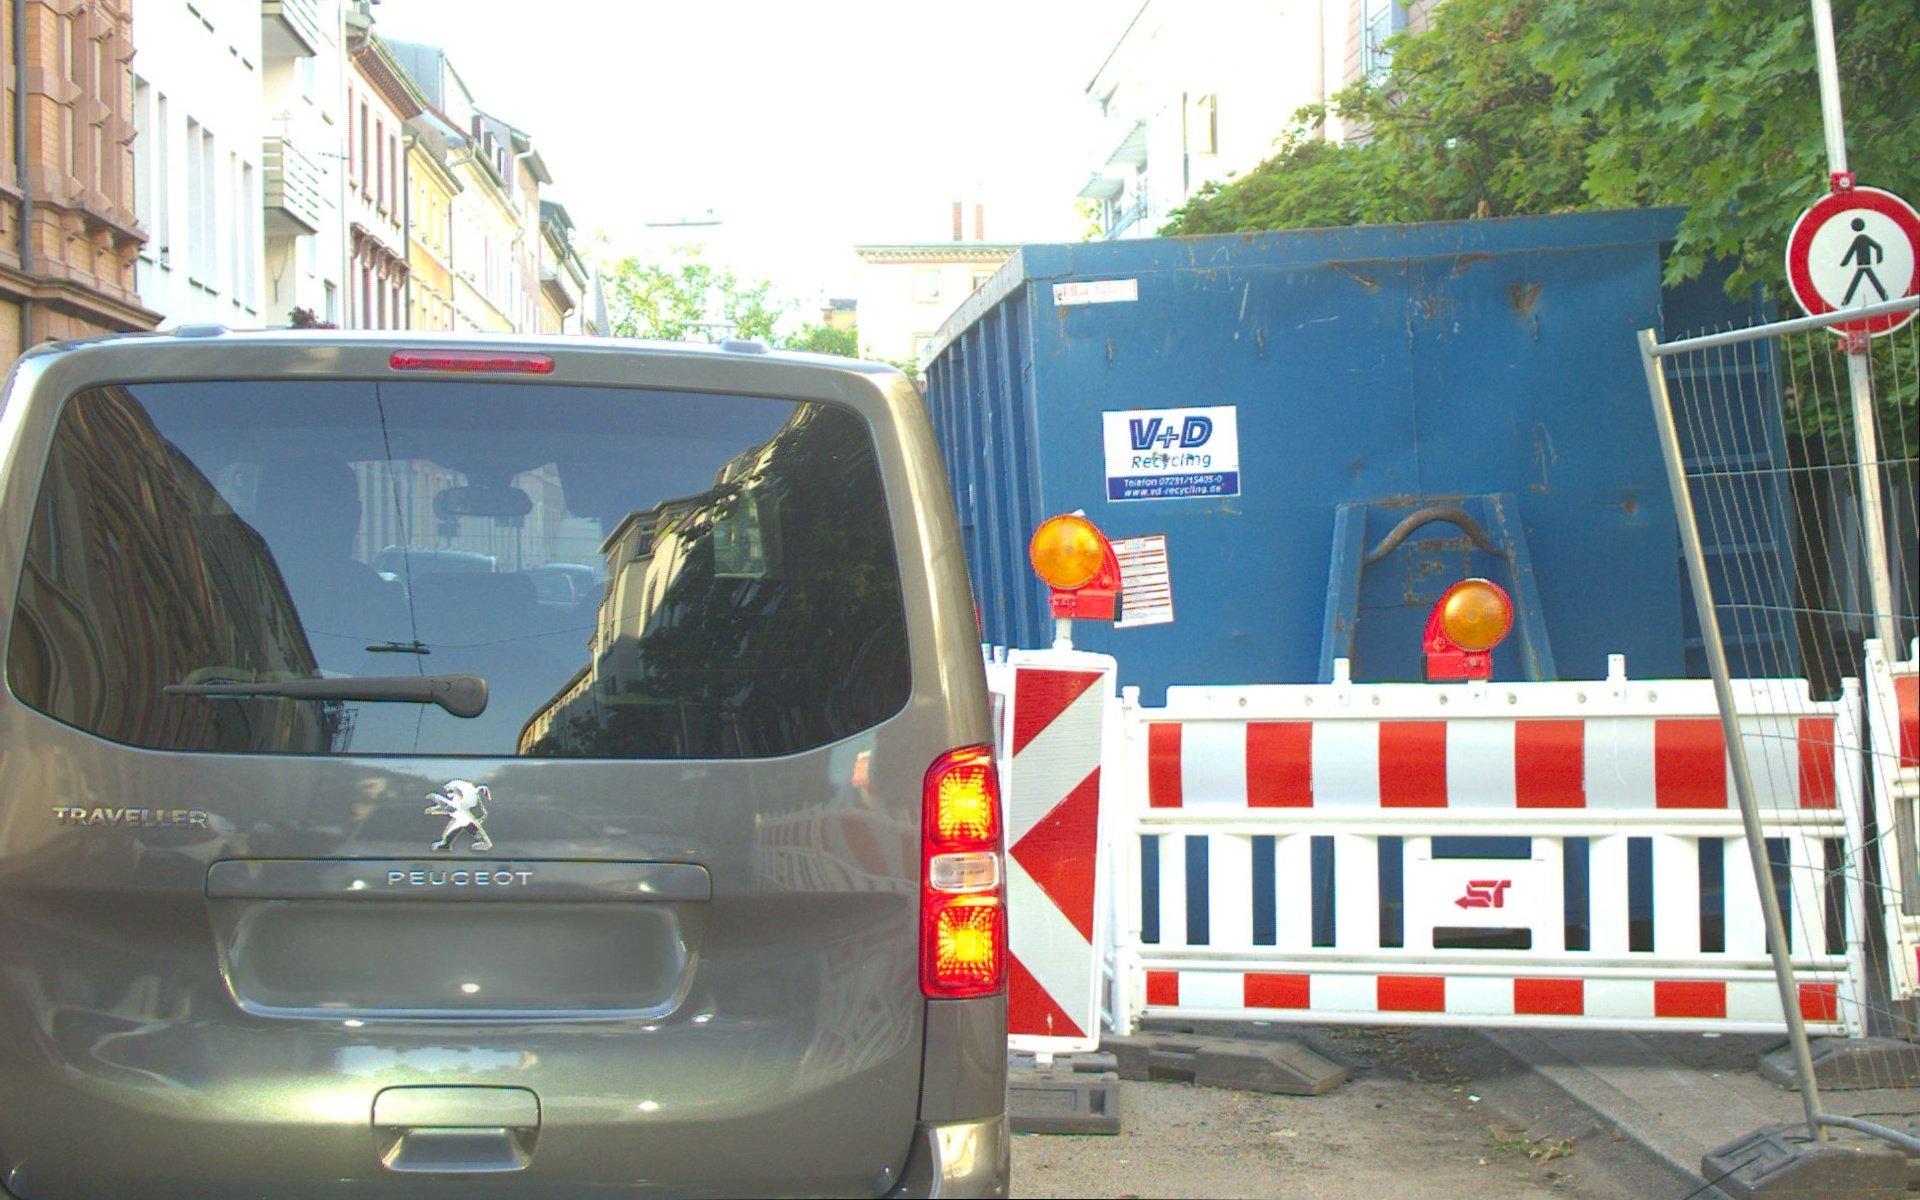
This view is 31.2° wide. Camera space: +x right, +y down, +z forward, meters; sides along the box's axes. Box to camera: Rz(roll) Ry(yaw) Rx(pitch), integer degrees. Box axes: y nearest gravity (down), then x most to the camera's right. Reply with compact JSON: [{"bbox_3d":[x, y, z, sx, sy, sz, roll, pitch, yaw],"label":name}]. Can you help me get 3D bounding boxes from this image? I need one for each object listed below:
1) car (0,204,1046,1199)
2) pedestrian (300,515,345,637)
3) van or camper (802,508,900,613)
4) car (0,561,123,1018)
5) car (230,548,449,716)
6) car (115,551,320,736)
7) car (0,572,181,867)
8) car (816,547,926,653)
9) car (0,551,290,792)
[{"bbox_3d":[-0.956,0.411,7.120,1.857,2.007,4.001,-2,1,-4],"label":"car"},{"bbox_3d":[-8.601,-0.327,46.422,0.495,1.633,0.666,1,0,-3],"label":"pedestrian"},{"bbox_3d":[-2.920,-1.047,90.545,2.099,2.593,7.514,-2,1,-5],"label":"van or camper"},{"bbox_3d":[-4.526,0.629,10.288,1.996,1.481,3.996,0,1,21],"label":"car"},{"bbox_3d":[-6.205,0.274,34.736,1.740,1.594,4.015,0,1,-4],"label":"car"},{"bbox_3d":[-6.597,0.350,30.750,1.395,1.583,2.794,0,1,-4],"label":"car"},{"bbox_3d":[-5.300,0.575,18.614,1.632,1.425,3.556,0,1,-5],"label":"car"},{"bbox_3d":[-1.481,-0.035,57.380,1.749,1.677,4.526,0,1,-1],"label":"car"},{"bbox_3d":[-5.712,0.437,24.036,1.555,1.503,3.598,2,1,-4],"label":"car"}]
